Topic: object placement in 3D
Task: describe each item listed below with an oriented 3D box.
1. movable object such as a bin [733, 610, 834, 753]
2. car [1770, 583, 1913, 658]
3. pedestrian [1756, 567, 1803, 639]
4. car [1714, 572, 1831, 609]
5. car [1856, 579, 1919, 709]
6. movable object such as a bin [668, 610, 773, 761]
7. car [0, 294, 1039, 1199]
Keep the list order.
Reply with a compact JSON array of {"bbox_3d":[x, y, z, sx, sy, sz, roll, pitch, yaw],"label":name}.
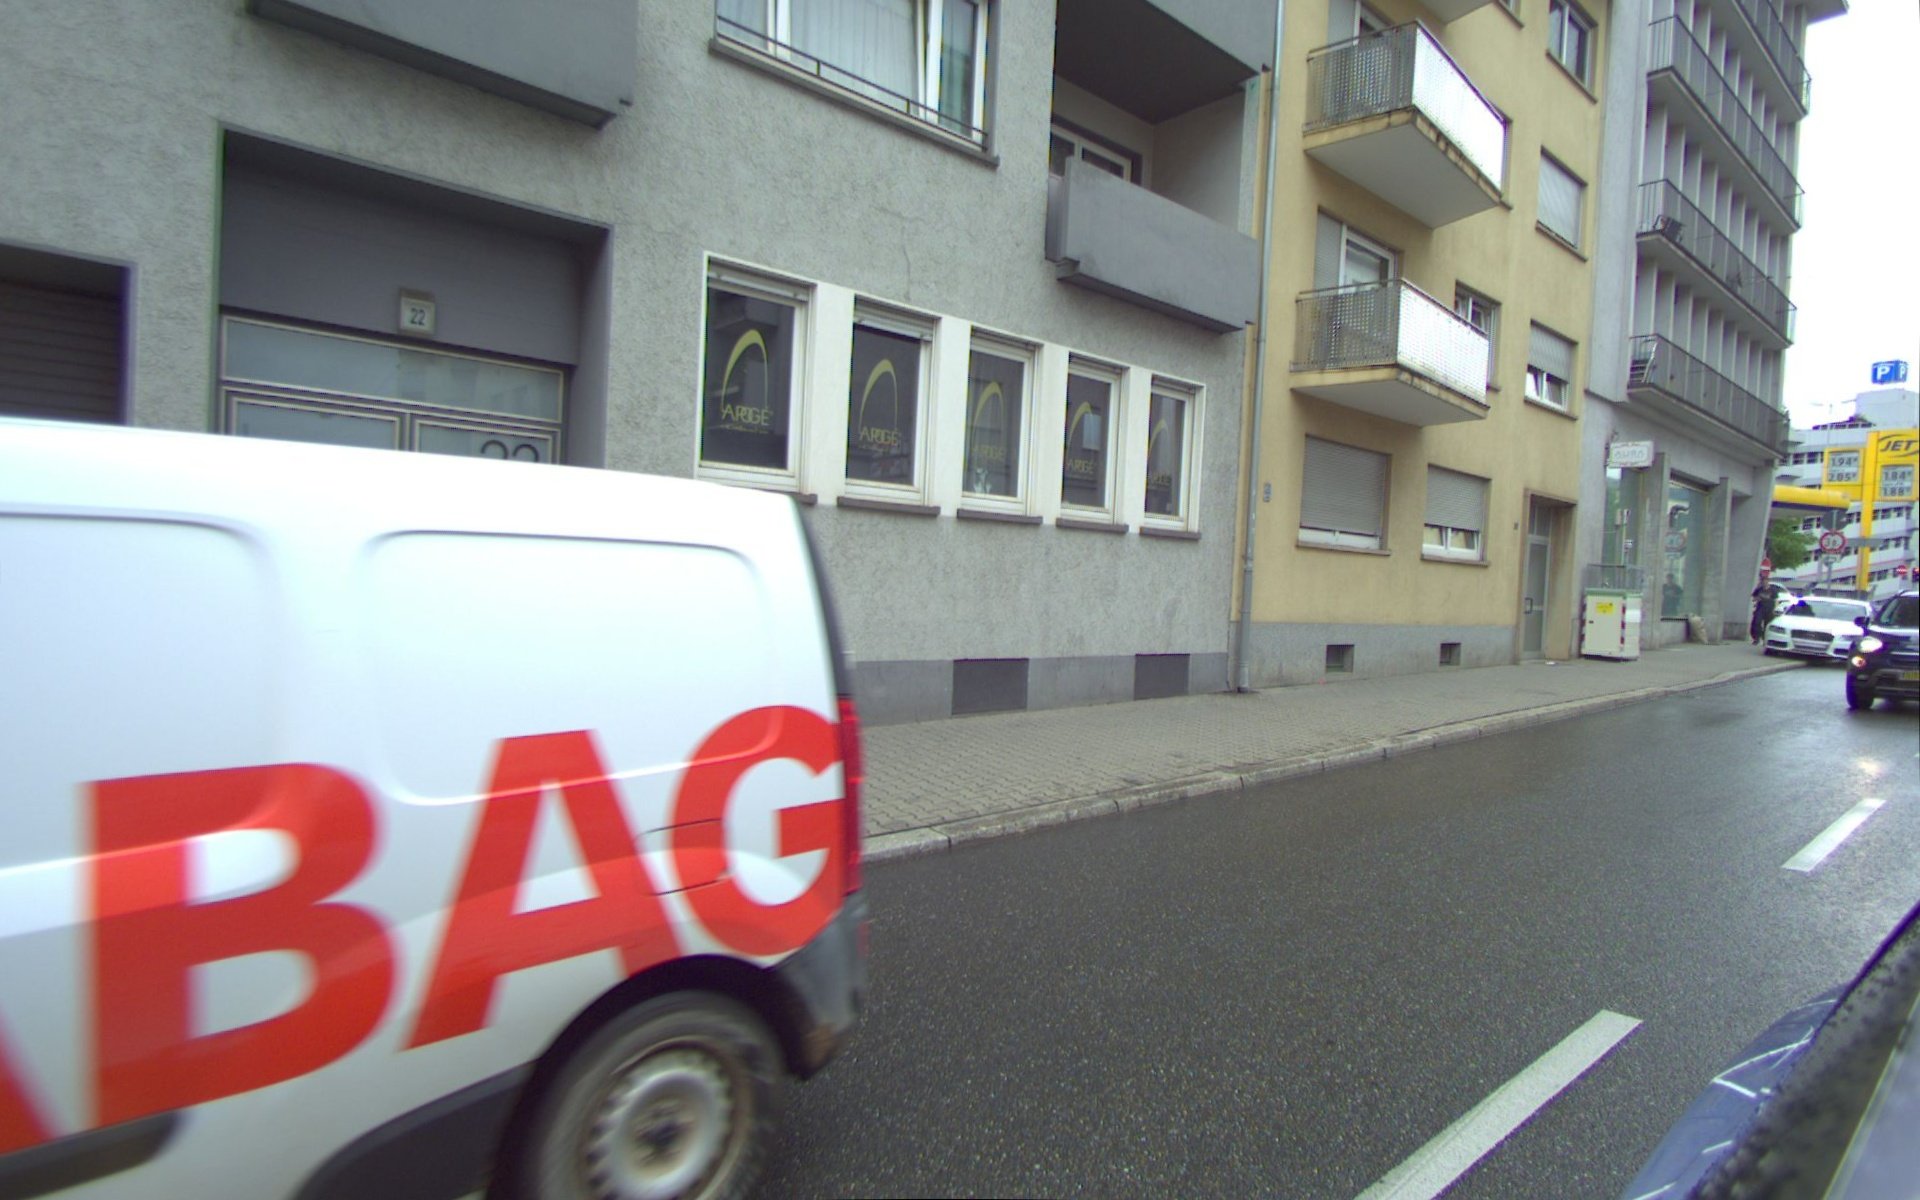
[{"bbox_3d":[-1.320,0.586,7.564,0.506,0.961,0.541,0,5,-40],"label":"movable object such as a bin"},{"bbox_3d":[19.877,0.398,22.776,4.093,1.453,1.803,0,4,-41],"label":"car"},{"bbox_3d":[20.921,0.064,25.833,0.872,1.777,0.679,0,2,-39],"label":"pedestrian"},{"bbox_3d":[34.586,-0.406,43.235,1.738,1.492,4.000,0,0,-1],"label":"car"},{"bbox_3d":[13.563,0.546,13.596,3.930,1.600,1.770,0,2,-41],"label":"car"},{"bbox_3d":[-1.709,0.582,7.206,0.506,0.967,0.541,0,5,-40],"label":"movable object such as a bin"},{"bbox_3d":[-2.214,0.464,1.919,4.660,1.797,1.945,0,1,-39],"label":"car"}]
